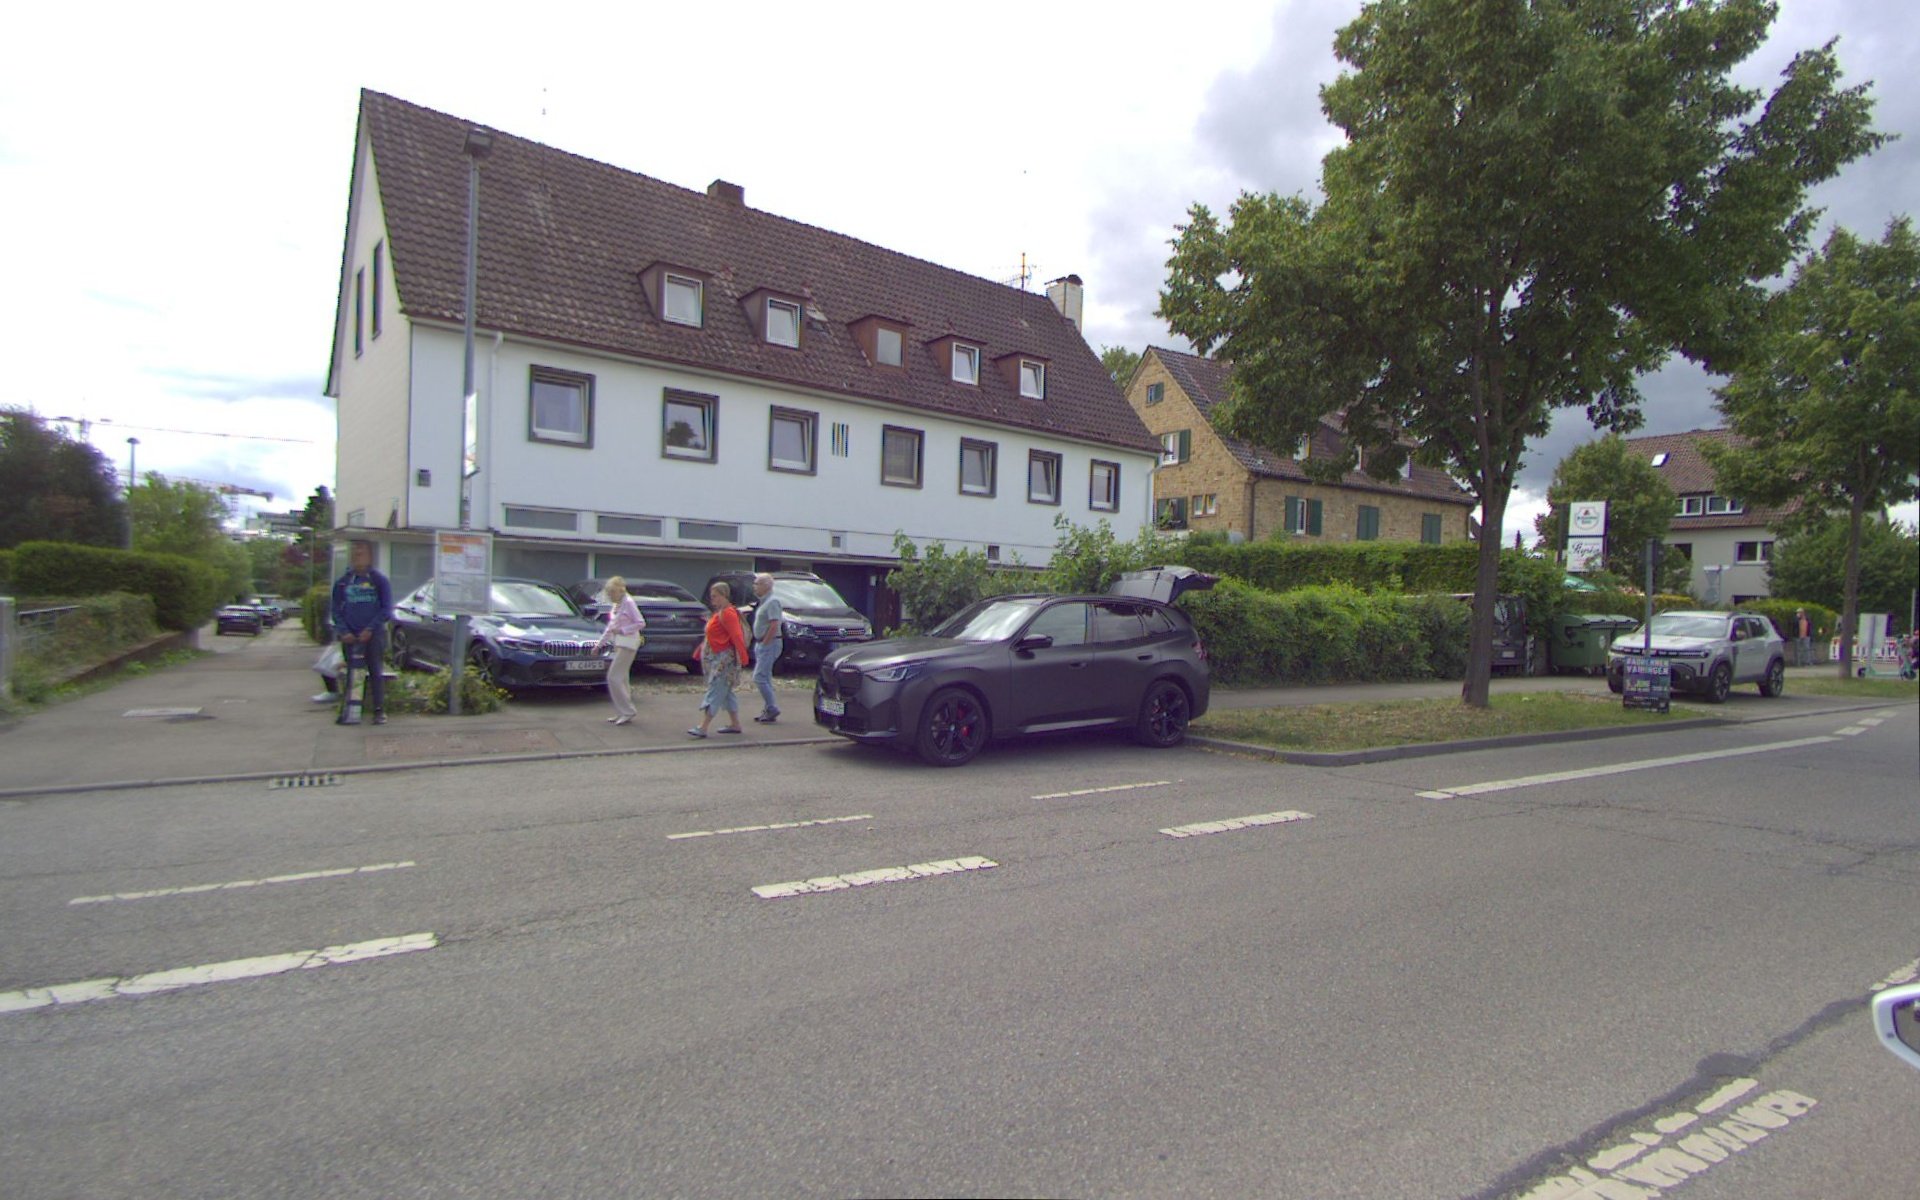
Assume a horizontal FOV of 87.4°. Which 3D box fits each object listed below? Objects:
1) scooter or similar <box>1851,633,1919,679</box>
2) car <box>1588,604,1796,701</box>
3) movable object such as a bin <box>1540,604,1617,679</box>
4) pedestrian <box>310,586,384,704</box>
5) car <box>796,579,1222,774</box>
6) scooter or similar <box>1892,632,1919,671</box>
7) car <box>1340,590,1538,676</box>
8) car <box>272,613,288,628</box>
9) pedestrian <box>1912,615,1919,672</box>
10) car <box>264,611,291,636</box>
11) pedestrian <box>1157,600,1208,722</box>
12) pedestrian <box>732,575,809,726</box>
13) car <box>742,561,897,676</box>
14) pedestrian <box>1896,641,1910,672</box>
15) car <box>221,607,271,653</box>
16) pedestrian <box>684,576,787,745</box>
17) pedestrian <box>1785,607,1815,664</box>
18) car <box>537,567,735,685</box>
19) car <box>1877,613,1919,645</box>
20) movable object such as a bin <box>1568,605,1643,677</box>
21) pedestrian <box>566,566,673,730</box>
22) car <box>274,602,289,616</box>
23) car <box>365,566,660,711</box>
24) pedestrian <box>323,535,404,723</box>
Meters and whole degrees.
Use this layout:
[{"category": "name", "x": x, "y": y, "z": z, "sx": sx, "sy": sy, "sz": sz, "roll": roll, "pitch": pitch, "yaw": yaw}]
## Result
[{"category": "scooter or similar", "x": 24.463, "y": 1.482, "z": 26.586, "sx": 1.264, "sy": 1.154, "sz": 0.347, "roll": 1, "pitch": 0, "yaw": 28}, {"category": "car", "x": 14.297, "y": 0.968, "z": 19.563, "sx": 4.247, "sy": 1.676, "sz": 1.850, "roll": 1, "pitch": 0, "yaw": -33}, {"category": "movable object such as a bin", "x": 14.738, "y": 0.975, "z": 23.948, "sx": 0.987, "sy": 1.673, "sz": 1.198, "roll": 1, "pitch": 2, "yaw": -33}, {"category": "pedestrian", "x": -7.165, "y": 0.518, "z": 11.766, "sx": 0.697, "sy": 1.330, "sz": 0.585, "roll": 1, "pitch": 0, "yaw": -30}, {"category": "car", "x": 0.653, "y": 0.712, "z": 10.963, "sx": 4.518, "sy": 1.748, "sz": 1.713, "roll": 1, "pitch": 0, "yaw": -34}, {"category": "scooter or similar", "x": 29.041, "y": 1.577, "z": 30.690, "sx": 0.399, "sy": 1.110, "sz": 0.970, "roll": 3, "pitch": 2, "yaw": 20}, {"category": "car", "x": 11.624, "y": 0.752, "z": 24.624, "sx": 1.977, "sy": 1.917, "sz": 3.967, "roll": 1, "pitch": 0, "yaw": -31}, {"category": "car", "x": -82.354, "y": 2.467, "z": 121.617, "sx": 1.584, "sy": 1.581, "sz": 3.615, "roll": 1, "pitch": 2, "yaw": -34}, {"category": "pedestrian", "x": 28.813, "y": 1.303, "z": 29.935, "sx": 0.474, "sy": 1.692, "sz": 0.515, "roll": 1, "pitch": 0, "yaw": 25}, {"category": "car", "x": -50.245, "y": 1.738, "z": 74.002, "sx": 1.584, "sy": 1.581, "sz": 3.565, "roll": 1, "pitch": 2, "yaw": -34}, {"category": "pedestrian", "x": 2.717, "y": 0.729, "z": 12.311, "sx": 0.486, "sy": 1.455, "sz": 0.555, "roll": 1, "pitch": 0, "yaw": 0}, {"category": "pedestrian", "x": -2.241, "y": 0.570, "z": 11.851, "sx": 0.585, "sy": 1.686, "sz": 0.782, "roll": 1, "pitch": 3, "yaw": -32}, {"category": "car", "x": -2.585, "y": 0.263, "z": 17.602, "sx": 1.841, "sy": 1.714, "sz": 3.981, "roll": -2, "pitch": 1, "yaw": -20}, {"category": "pedestrian", "x": 27.545, "y": 1.650, "z": 29.339, "sx": 0.235, "sy": 0.906, "sz": 0.259, "roll": 1, "pitch": 0, "yaw": 30}, {"category": "car", "x": -36.992, "y": 1.538, "z": 52.116, "sx": 1.979, "sy": 2.041, "sz": 3.961, "roll": 1, "pitch": 2, "yaw": -34}, {"category": "pedestrian", "x": -2.416, "y": 0.618, "z": 10.784, "sx": 0.747, "sy": 1.686, "sz": 0.781, "roll": 1, "pitch": 4, "yaw": -38}, {"category": "pedestrian", "x": 26.909, "y": 1.129, "z": 32.174, "sx": 0.551, "sy": 1.808, "sz": 0.541, "roll": 1, "pitch": 0, "yaw": 19}, {"category": "car", "x": -5.215, "y": 0.316, "z": 15.849, "sx": 1.774, "sy": 1.502, "sz": 3.957, "roll": 1, "pitch": 3, "yaw": -37}, {"category": "car", "x": 50.469, "y": 1.539, "z": 52.392, "sx": 1.580, "sy": 1.632, "sz": 3.575, "roll": 1, "pitch": 0, "yaw": -27}, {"category": "movable object such as a bin", "x": 16.054, "y": 1.009, "z": 24.986, "sx": 0.987, "sy": 1.673, "sz": 1.198, "roll": 1, "pitch": 2, "yaw": -33}, {"category": "pedestrian", "x": -3.777, "y": 0.505, "z": 11.127, "sx": 0.873, "sy": 1.686, "sz": 0.781, "roll": 1, "pitch": 4, "yaw": -38}, {"category": "car", "x": -90.513, "y": 1.212, "z": 134.054, "sx": 1.584, "sy": 1.683, "sz": 3.565, "roll": 1, "pitch": 2, "yaw": -34}, {"category": "car", "x": -6.167, "y": 0.396, "z": 13.585, "sx": 4.462, "sy": 1.574, "sz": 2.025, "roll": 3, "pitch": 1, "yaw": 43}, {"category": "pedestrian", "x": -6.051, "y": 0.286, "z": 10.197, "sx": 0.664, "sy": 1.830, "sz": 0.501, "roll": 1, "pitch": 0, "yaw": -31}]
